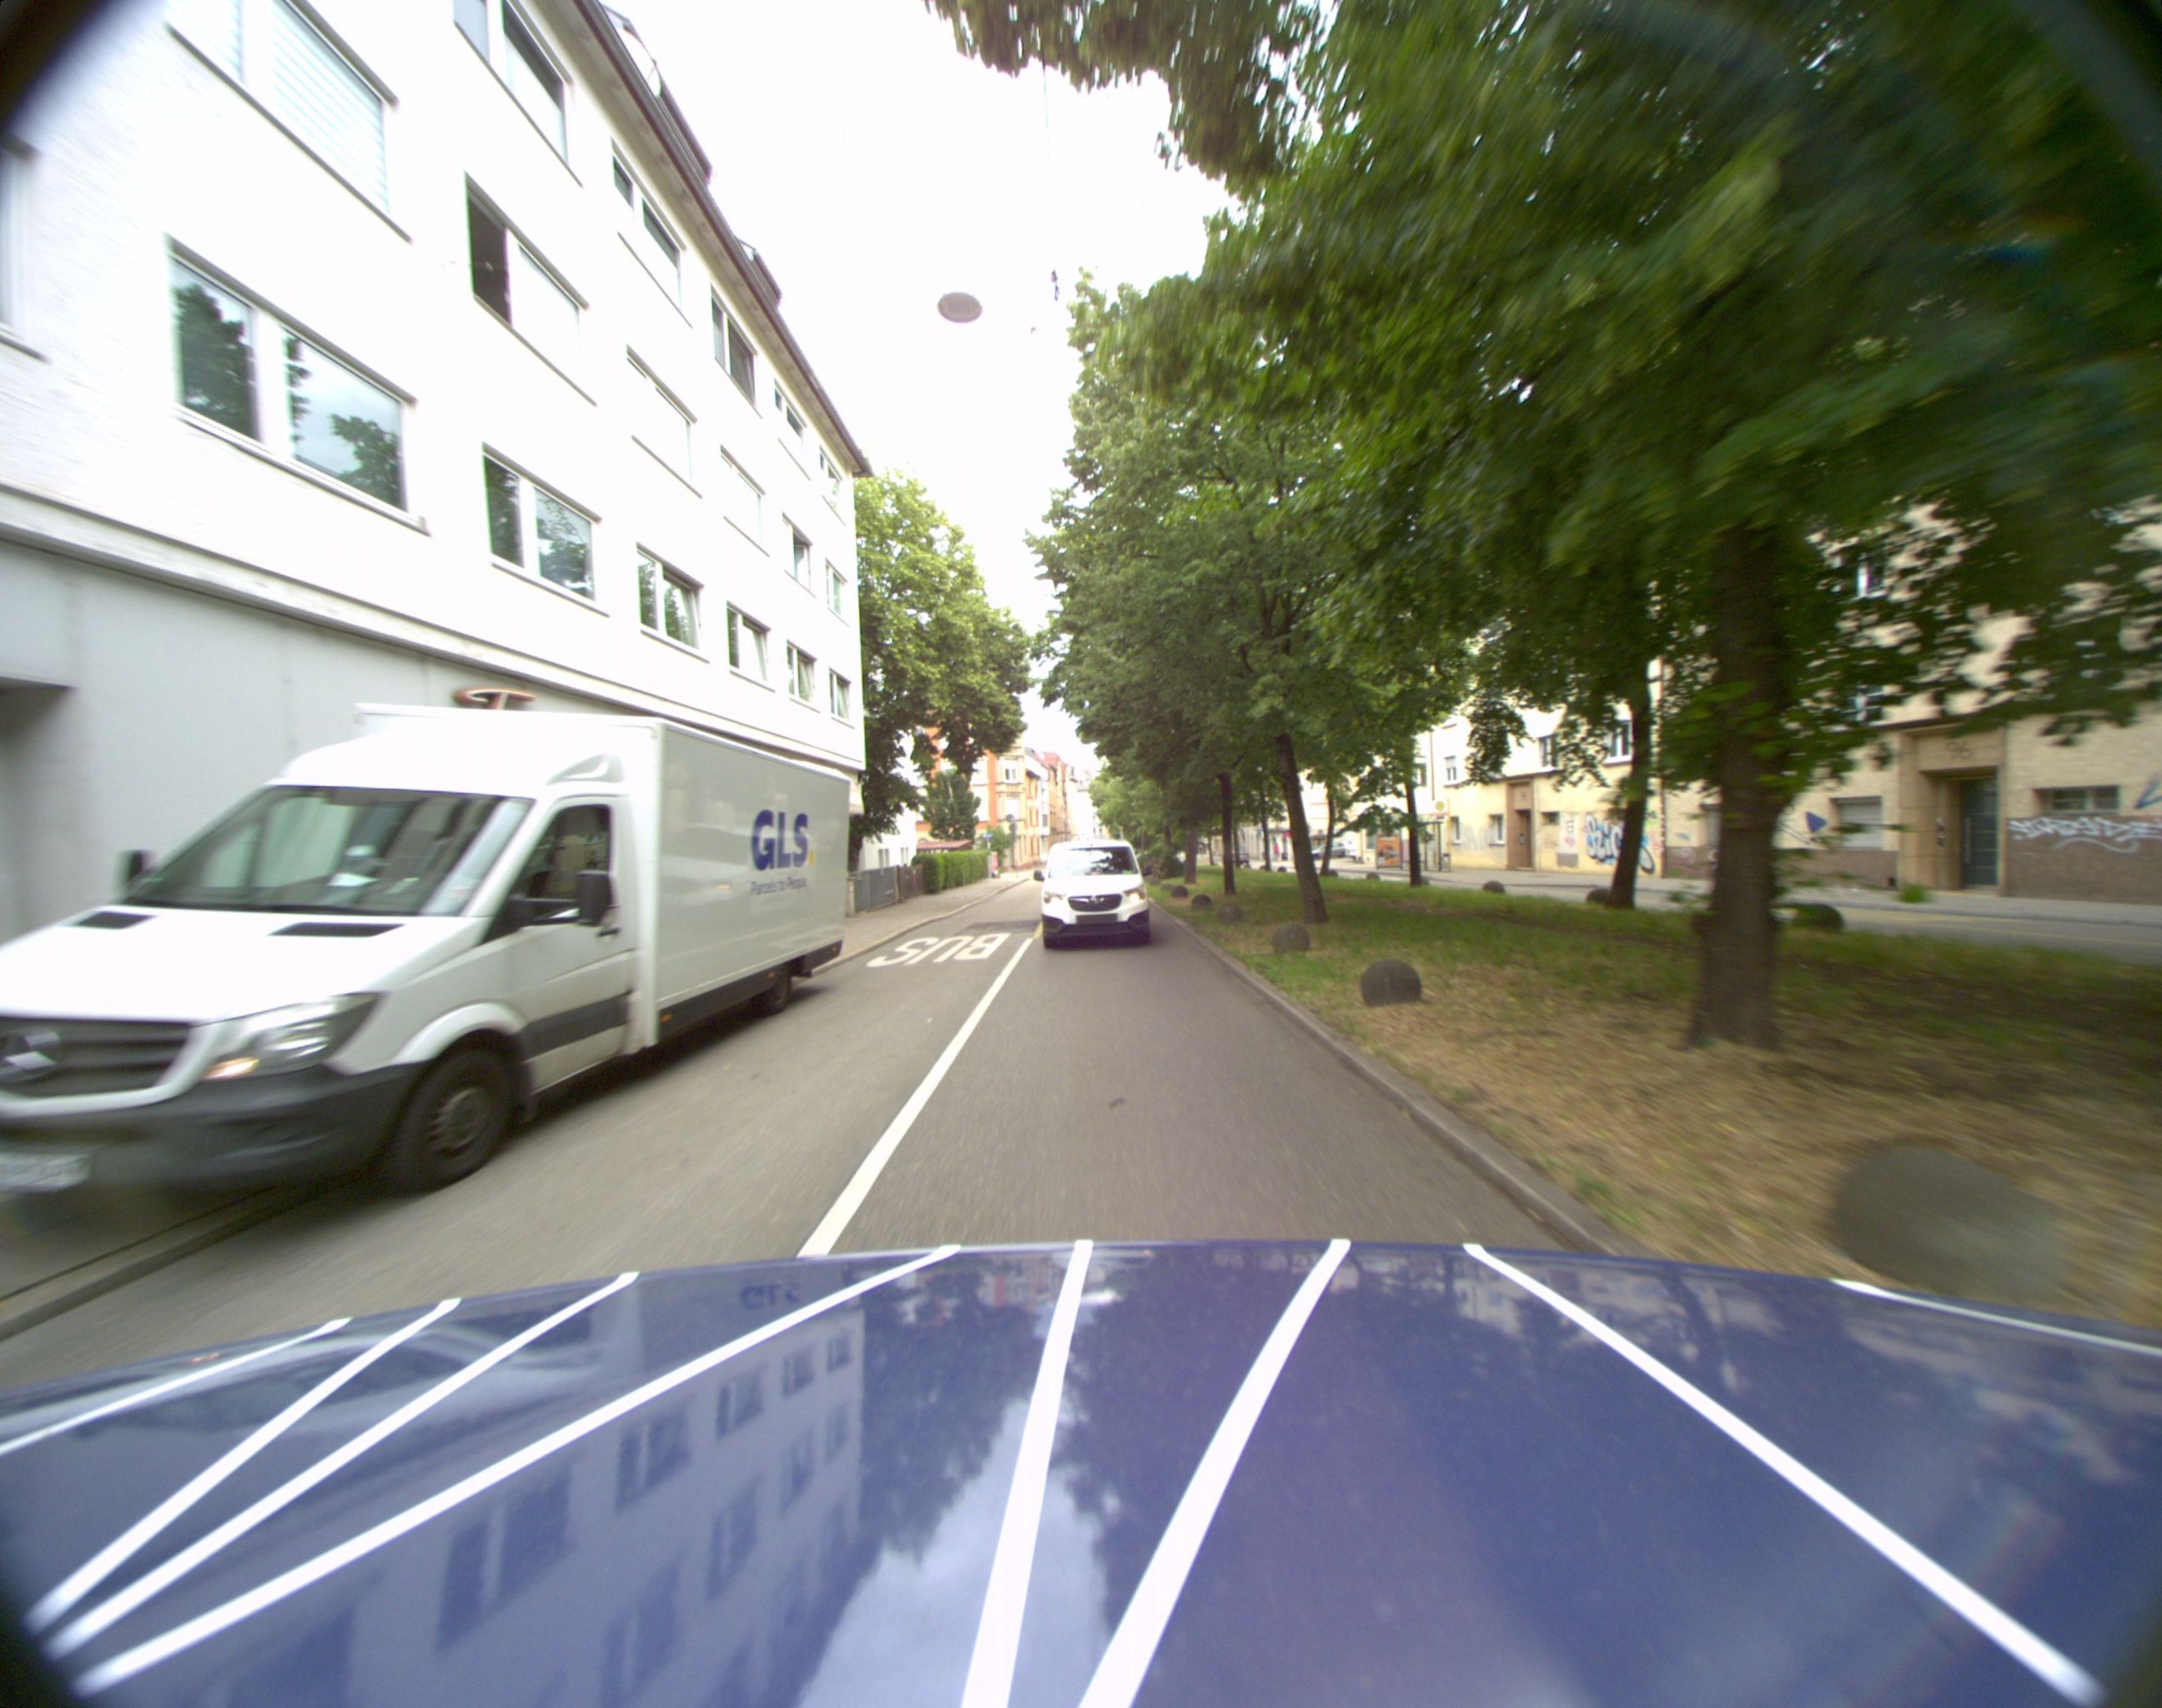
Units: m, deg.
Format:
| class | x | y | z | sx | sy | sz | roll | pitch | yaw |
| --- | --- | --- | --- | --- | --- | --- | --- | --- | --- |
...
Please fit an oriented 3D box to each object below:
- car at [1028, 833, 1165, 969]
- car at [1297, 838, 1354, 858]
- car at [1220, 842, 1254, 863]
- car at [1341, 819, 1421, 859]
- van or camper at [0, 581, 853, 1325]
| class | x | y | z | sx | sy | sz | roll | pitch | yaw |
| --- | --- | --- | --- | --- | --- | --- | --- | --- | --- |
| car | 0.455 | 0.657 | 12.935 | 1.745 | 1.830 | 4.345 | -4 | 0 | 7 |
| car | 21.447 | -0.505 | 66.728 | 4.298 | 1.411 | 2.048 | -5 | -1 | 3 |
| car | 13.290 | -0.121 | 64.806 | 1.953 | 1.619 | 4.365 | -2 | 0 | 0 |
| car | 22.796 | -1.124 | 57.864 | 5.190 | 2.720 | 2.175 | -3 | 1 | -10 |
| van or camper | -4.215 | 0.366 | 6.456 | 2.486 | 2.786 | 7.236 | 0 | 0 | -1 |
